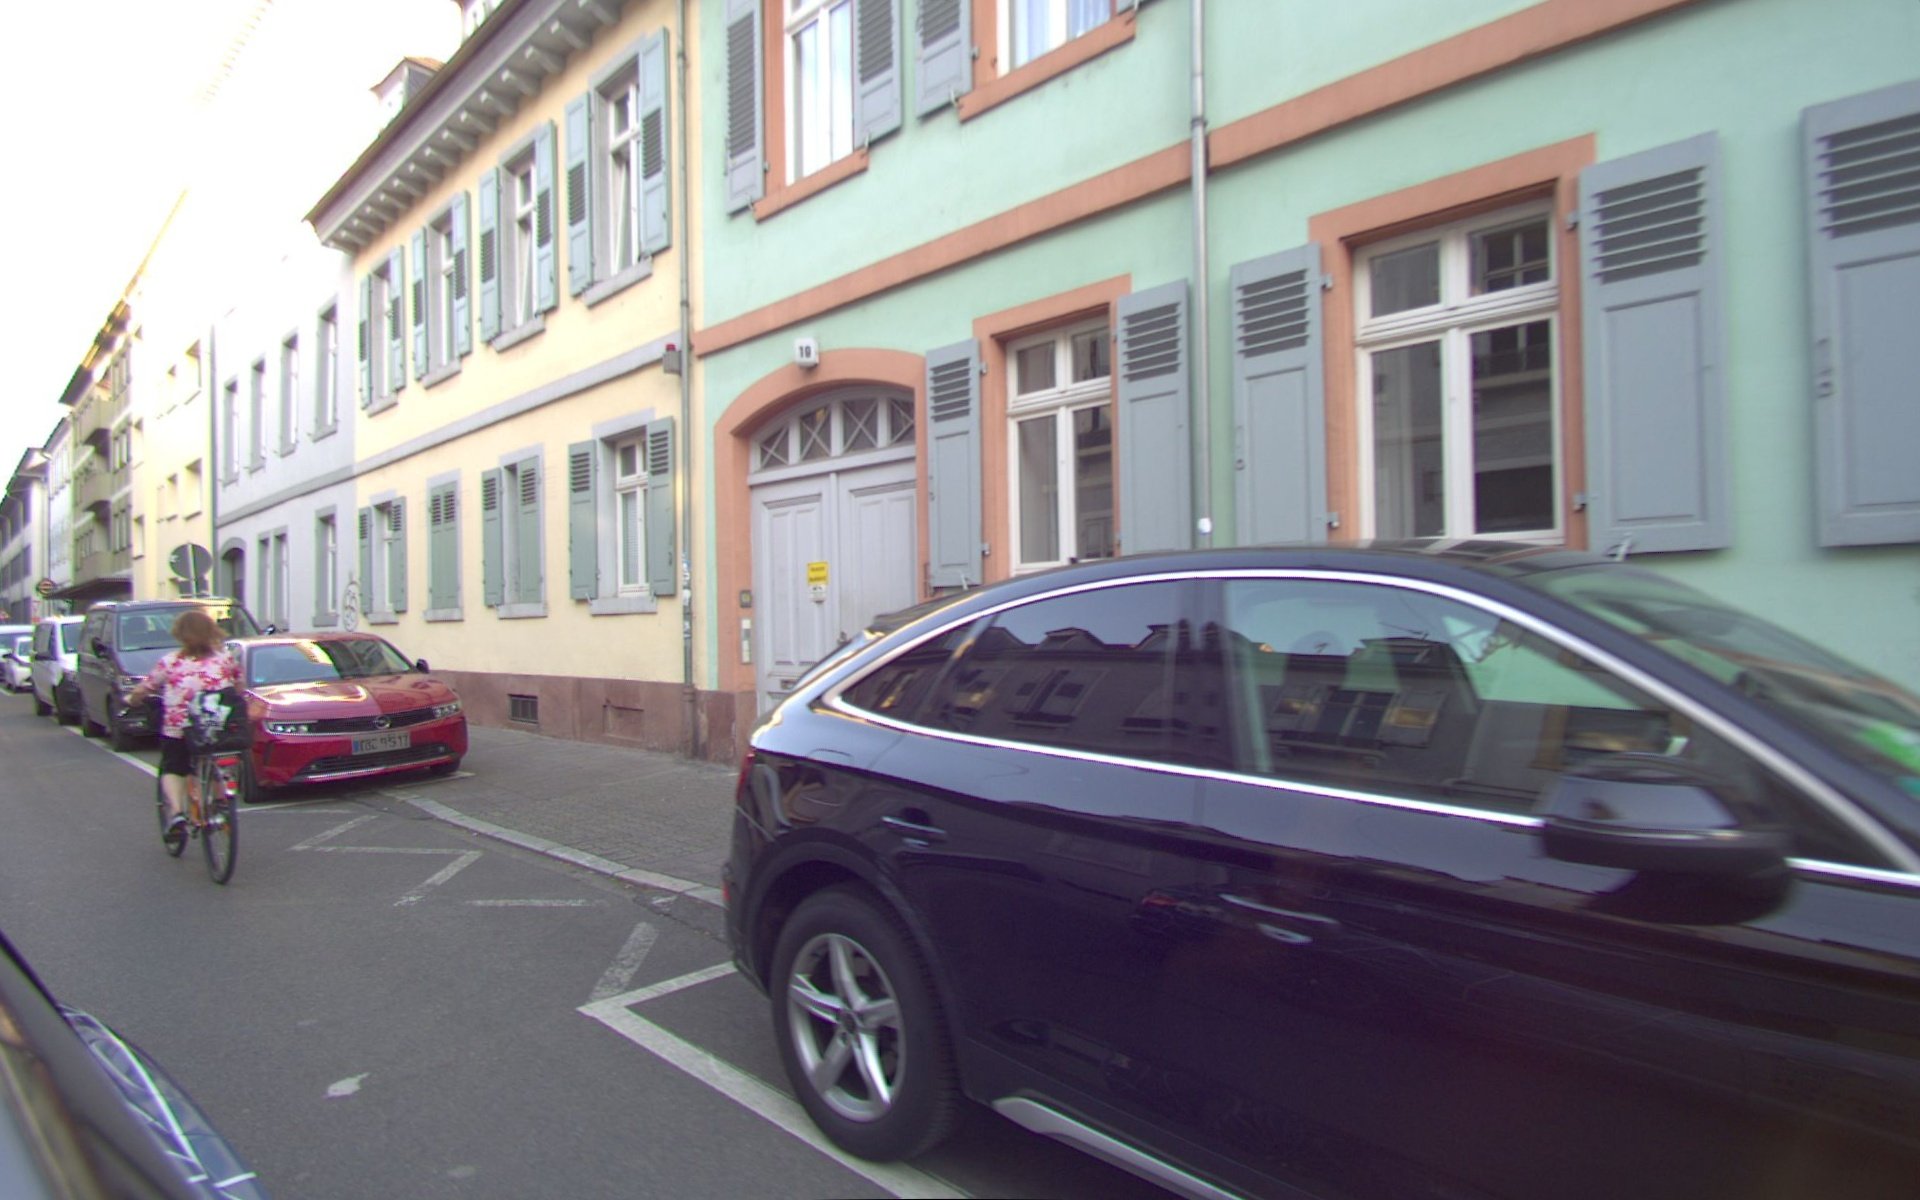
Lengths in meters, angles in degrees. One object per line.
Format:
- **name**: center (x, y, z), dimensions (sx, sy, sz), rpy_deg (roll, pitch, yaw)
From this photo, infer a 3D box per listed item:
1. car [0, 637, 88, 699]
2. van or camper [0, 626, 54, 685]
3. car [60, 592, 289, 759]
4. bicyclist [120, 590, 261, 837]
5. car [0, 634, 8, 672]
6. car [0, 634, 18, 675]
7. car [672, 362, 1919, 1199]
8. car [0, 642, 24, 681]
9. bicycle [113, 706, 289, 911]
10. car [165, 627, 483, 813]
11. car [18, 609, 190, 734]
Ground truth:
- **car**: center (-25.462, 1.839, 27.985), dimensions (3.521, 1.459, 1.644), rpy_deg (-2, 2, 44)
- **van or camper**: center (-32.196, 1.865, 34.471), dimensions (4.180, 1.862, 1.752), rpy_deg (-2, -2, 45)
- **car**: center (-11.434, 0.992, 14.599), dimensions (4.813, 2.029, 1.842), rpy_deg (-3, -2, 43)
- **bicyclist**: center (-4.633, 0.639, 6.091), dimensions (0.598, 1.380, 0.622), rpy_deg (-1, -1, -44)
- **car**: center (-49.010, 2.677, 50.432), dimensions (4.448, 1.825, 1.857), rpy_deg (-2, -1, 41)
- **car**: center (-45.180, 2.532, 47.014), dimensions (4.510, 1.825, 1.753), rpy_deg (-2, -1, 43)
- **car**: center (1.264, 0.580, 2.378), dimensions (1.782, 1.689, 4.492), rpy_deg (0, -2, -45)
- **car**: center (-37.975, 2.413, 39.625), dimensions (3.980, 1.426, 1.607), rpy_deg (-2, -1, 42)
- **bicycle**: center (-4.713, 1.192, 6.231), dimensions (0.606, 0.939, 1.887), rpy_deg (-1, -1, -45)
- **car**: center (-6.487, 1.025, 10.103), dimensions (4.264, 1.412, 1.745), rpy_deg (-2, -1, 44)
- **car**: center (-16.151, 1.255, 18.987), dimensions (5.105, 2.029, 1.842), rpy_deg (-3, -2, 43)
